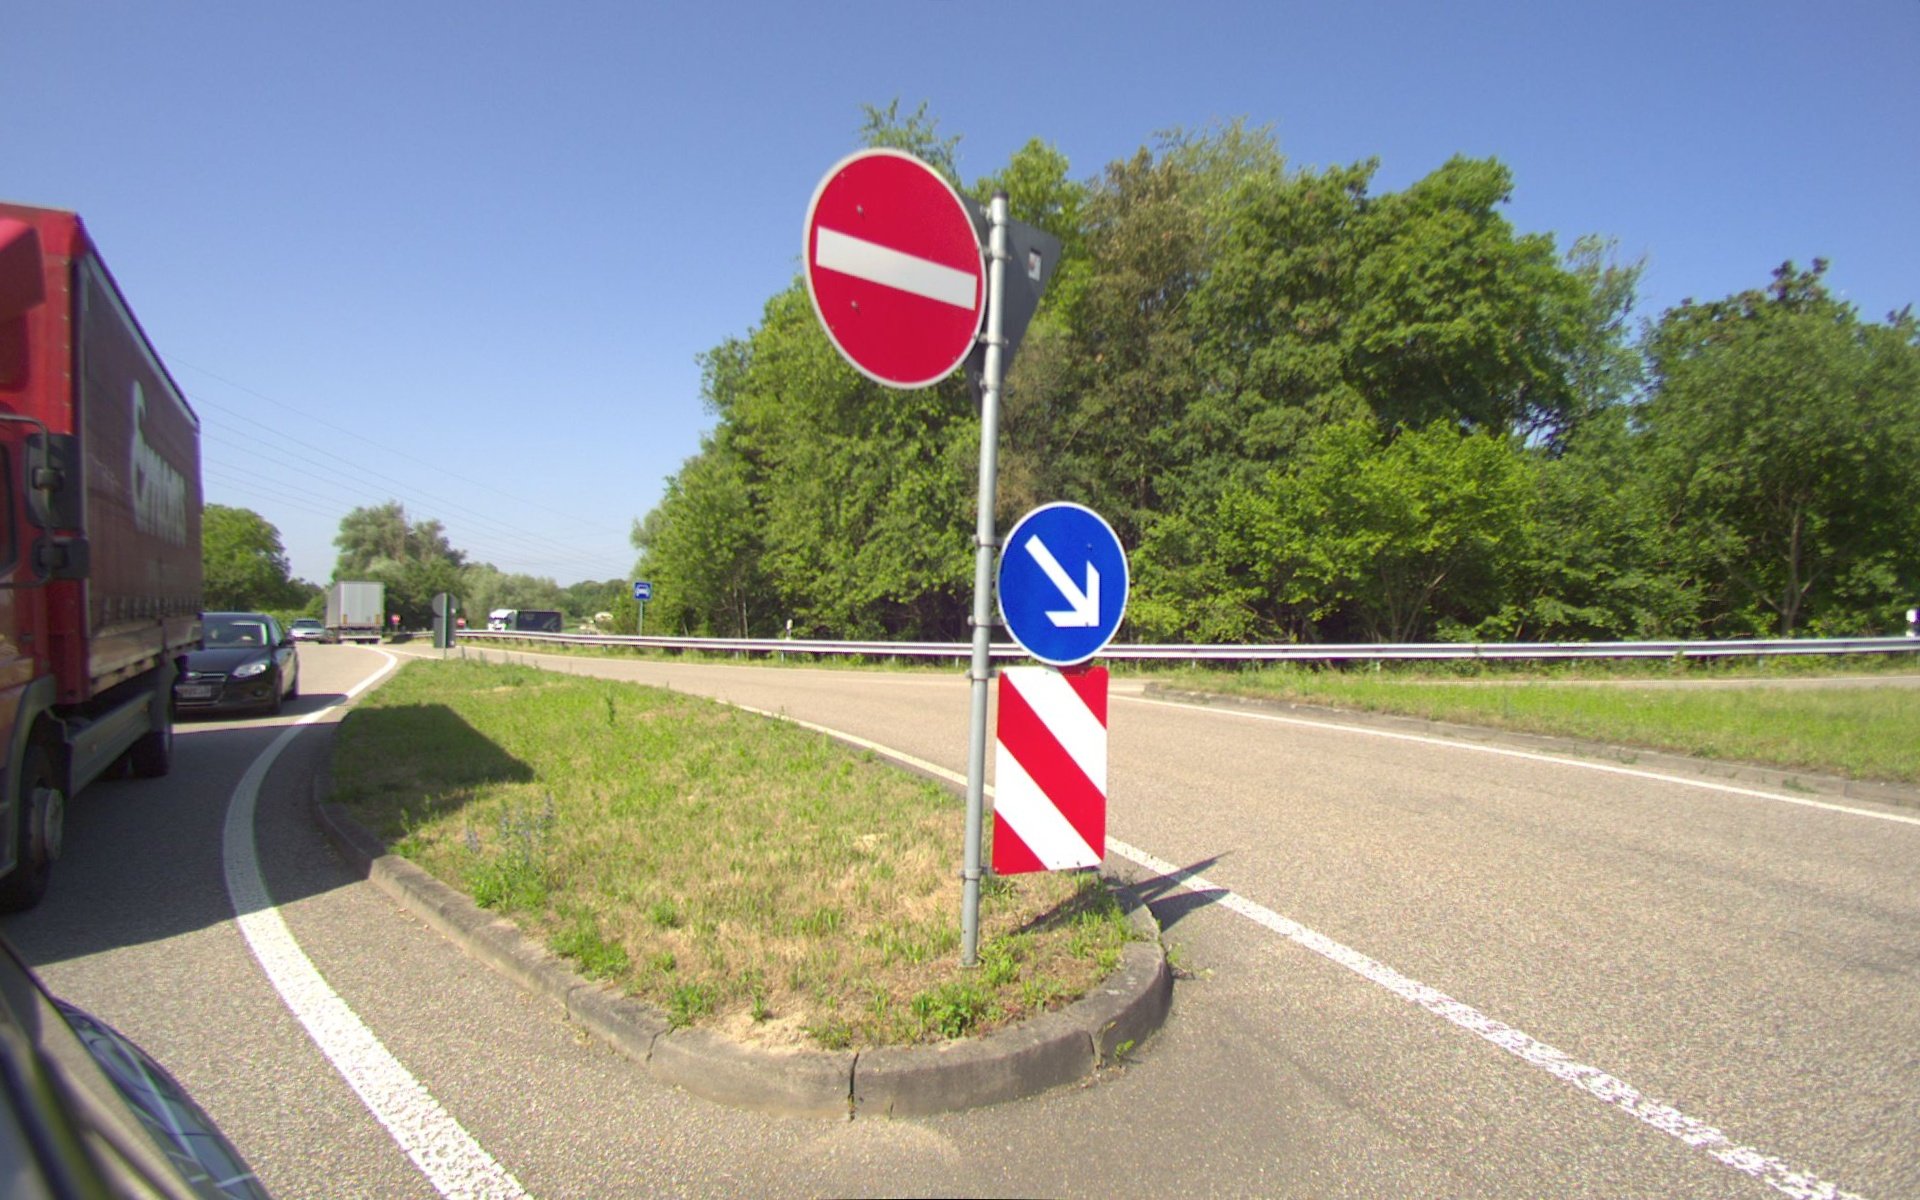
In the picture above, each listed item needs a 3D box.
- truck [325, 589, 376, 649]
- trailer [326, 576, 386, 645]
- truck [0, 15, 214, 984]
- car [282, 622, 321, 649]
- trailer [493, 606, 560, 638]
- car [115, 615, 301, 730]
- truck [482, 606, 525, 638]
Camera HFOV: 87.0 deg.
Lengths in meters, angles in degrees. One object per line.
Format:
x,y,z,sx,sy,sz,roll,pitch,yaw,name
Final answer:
-45.503,1.434,75.489,2.891,4.279,5.748,3,-2,-33,truck
-41.795,0.829,69.777,2.910,4.300,14.019,3,-3,-33,trailer
-7.195,-0.322,7.070,2.646,3.689,9.287,0,-1,-33,truck
-36.790,1.957,56.557,1.758,1.396,4.390,0,-1,-33,car
-62.726,3.321,146.972,2.893,4.272,13.963,2,-2,4,trailer
-10.898,0.951,14.943,1.758,1.425,4.012,0,-1,-30,car
-63.180,3.053,140.244,2.904,4.270,5.723,1,-2,5,truck
